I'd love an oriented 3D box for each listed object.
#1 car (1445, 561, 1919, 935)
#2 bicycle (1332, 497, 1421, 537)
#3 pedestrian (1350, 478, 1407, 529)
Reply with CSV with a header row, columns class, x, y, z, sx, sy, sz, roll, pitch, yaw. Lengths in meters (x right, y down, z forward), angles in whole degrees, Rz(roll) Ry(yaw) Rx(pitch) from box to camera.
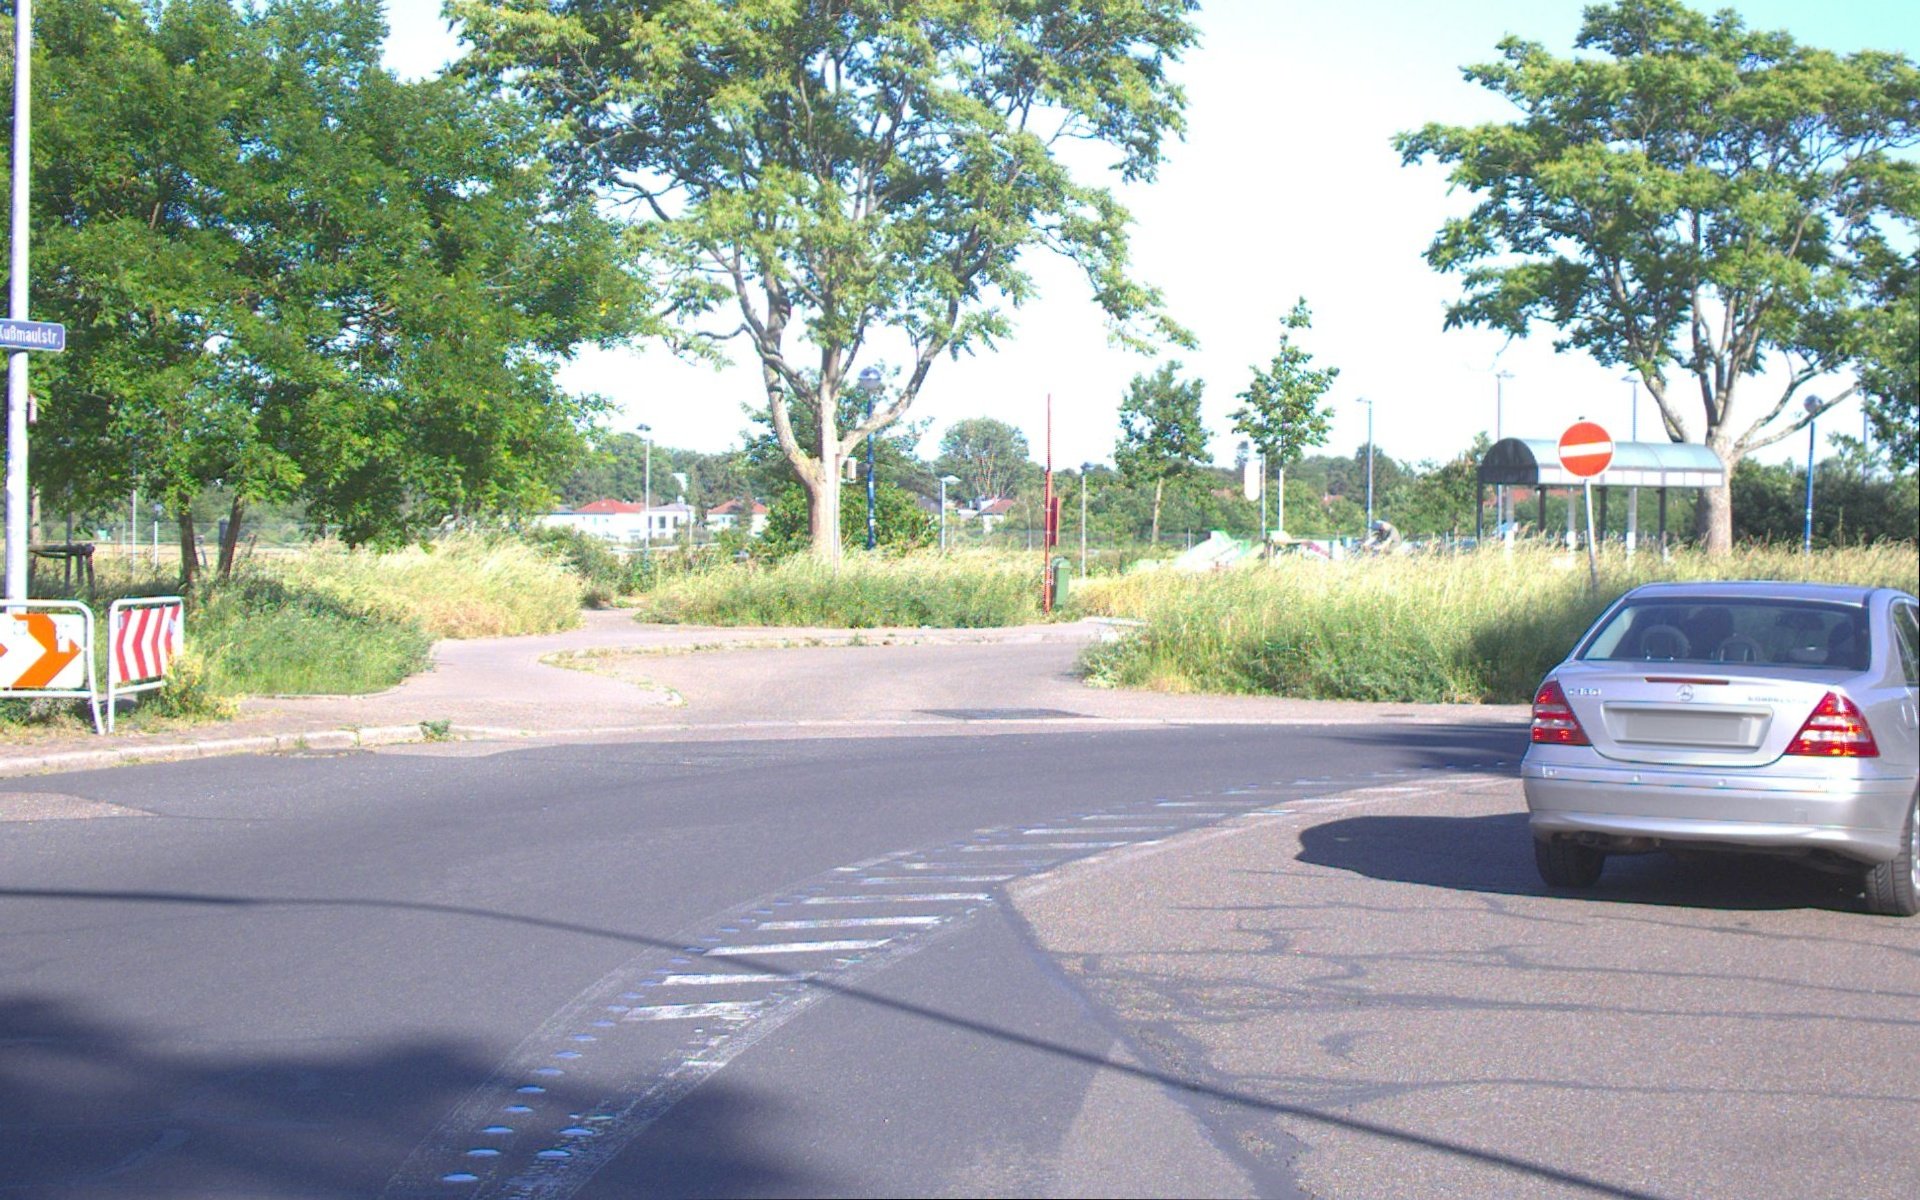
class,x,y,z,sx,sy,sz,roll,pitch,yaw
car,3.870,0.576,16.382,1.819,1.458,4.355,2,2,25
bicycle,7.893,-1.576,65.133,1.571,0.702,0.654,1,1,-30
pedestrian,7.925,-1.824,65.130,0.797,0.937,0.703,0,2,-30
